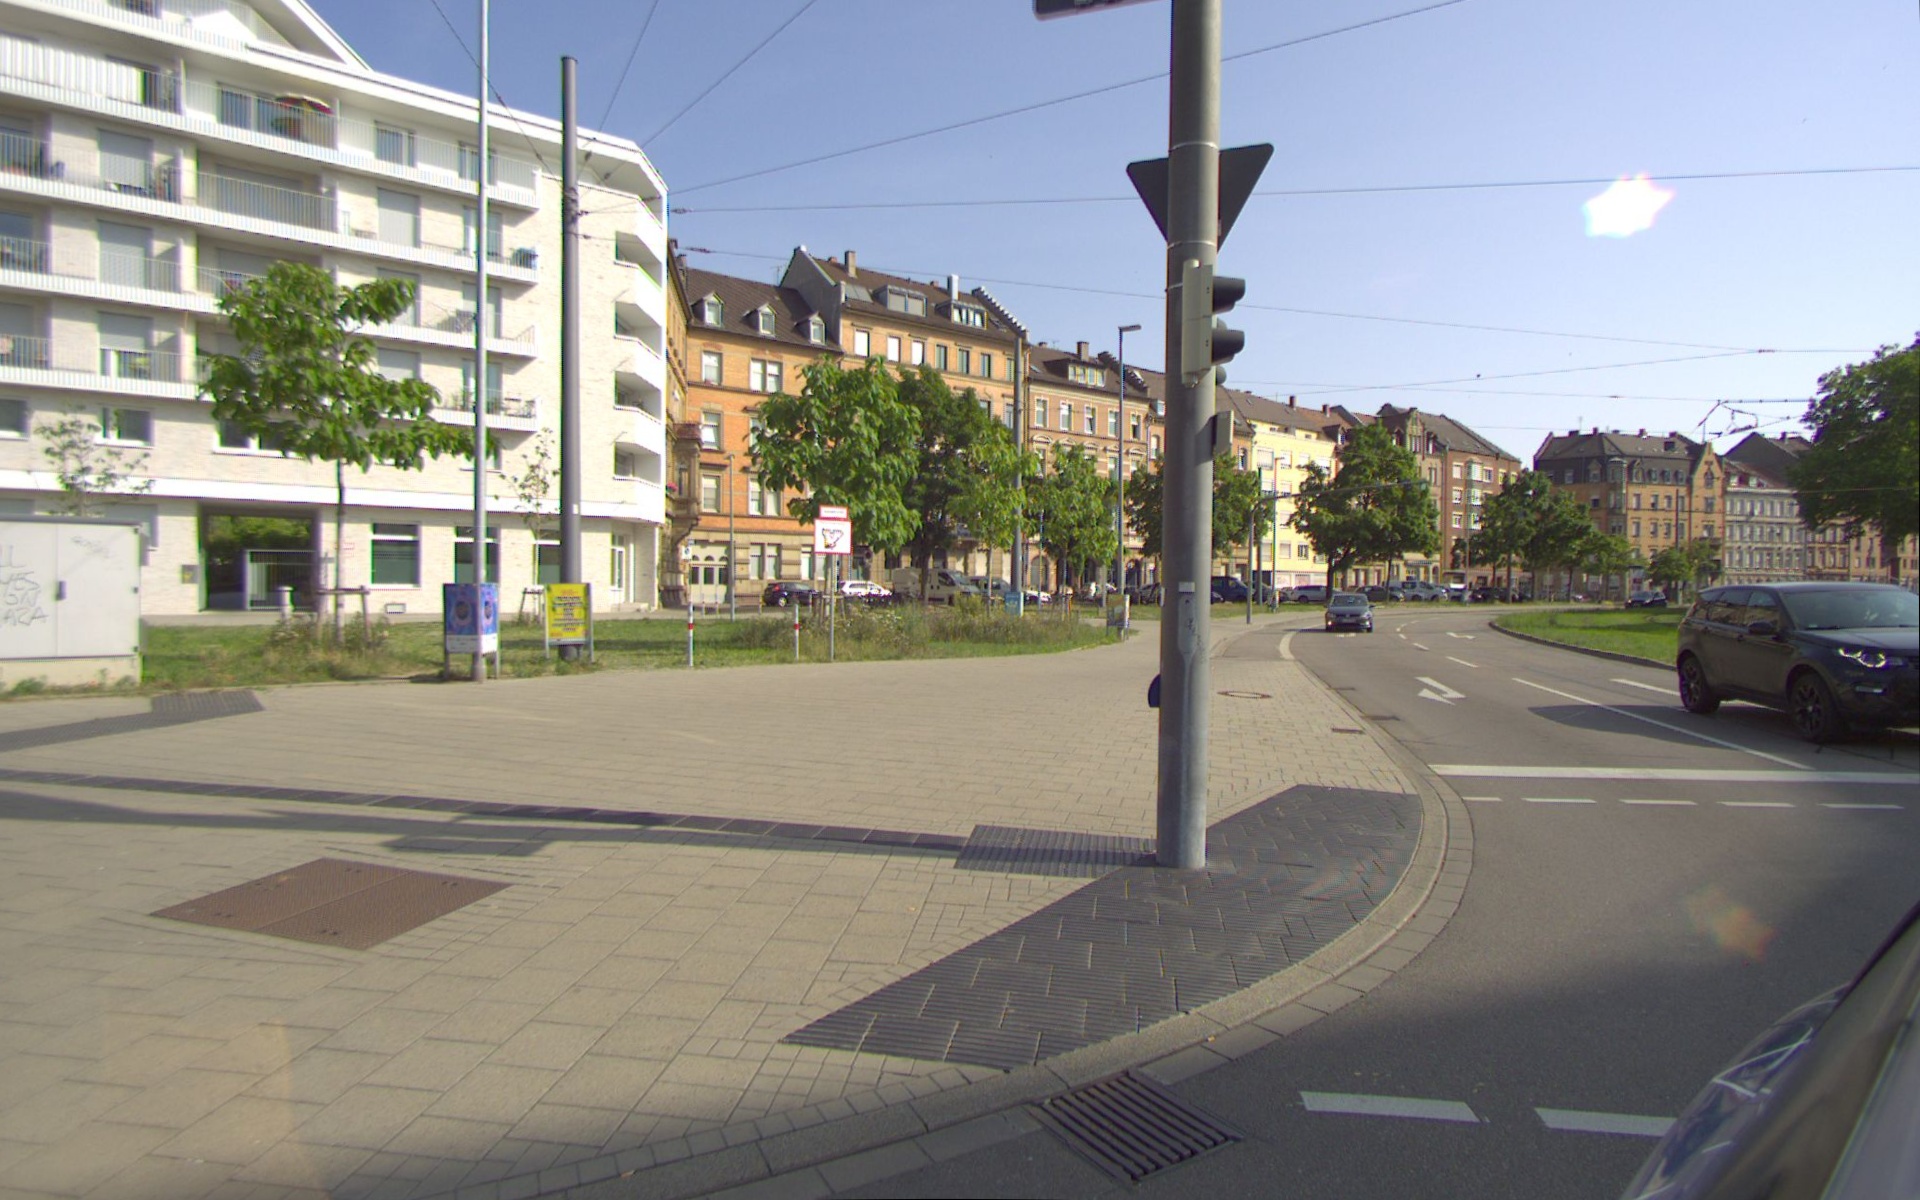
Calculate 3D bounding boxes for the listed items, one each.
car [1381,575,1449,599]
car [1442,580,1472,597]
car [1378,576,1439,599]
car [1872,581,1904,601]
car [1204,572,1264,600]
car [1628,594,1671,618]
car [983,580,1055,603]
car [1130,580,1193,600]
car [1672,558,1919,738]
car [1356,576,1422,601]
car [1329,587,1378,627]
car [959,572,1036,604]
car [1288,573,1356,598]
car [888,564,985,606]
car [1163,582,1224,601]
[{"bbox_3d":[38.186,-1.092,85.015,4.855,1.861,1.714,2,1,14],"label":"car"},{"bbox_3d":[50.871,-1.175,103.595,2.728,1.754,1.332,0,0,-27],"label":"car"},{"bbox_3d":[36.701,-1.015,82.871,4.362,1.787,1.712,2,1,19],"label":"car"},{"bbox_3d":[100.453,-0.956,109.560,3.929,2.003,1.998,-2,1,-39],"label":"car"},{"bbox_3d":[18.638,-0.972,68.800,3.809,1.828,1.773,0,1,21],"label":"car"},{"bbox_3d":[50.425,0.435,73.987,3.931,1.655,1.654,-1,1,-42],"label":"car"},{"bbox_3d":[3.403,-0.514,58.056,3.806,1.265,1.711,0,1,19],"label":"car"},{"bbox_3d":[13.101,-0.683,65.710,3.806,1.265,1.711,0,1,19],"label":"car"},{"bbox_3d":[9.998,0.432,11.465,1.777,1.699,4.201,1,1,15],"label":"car"},{"bbox_3d":[33.868,-0.933,79.921,4.692,1.787,1.706,2,1,26],"label":"car"},{"bbox_3d":[14.910,0.232,38.498,1.624,1.437,3.871,0,1,20],"label":"car"},{"bbox_3d":[2.071,-0.689,56.273,3.933,1.728,1.869,0,1,19],"label":"car"},{"bbox_3d":[27.562,-1.095,77.109,4.692,1.787,1.706,2,1,26],"label":"car"},{"bbox_3d":[-1.308,-0.832,54.787,4.996,2.206,1.863,0,1,26],"label":"car"},{"bbox_3d":[15.460,-0.577,67.082,3.806,1.265,1.711,0,1,19],"label":"car"}]
